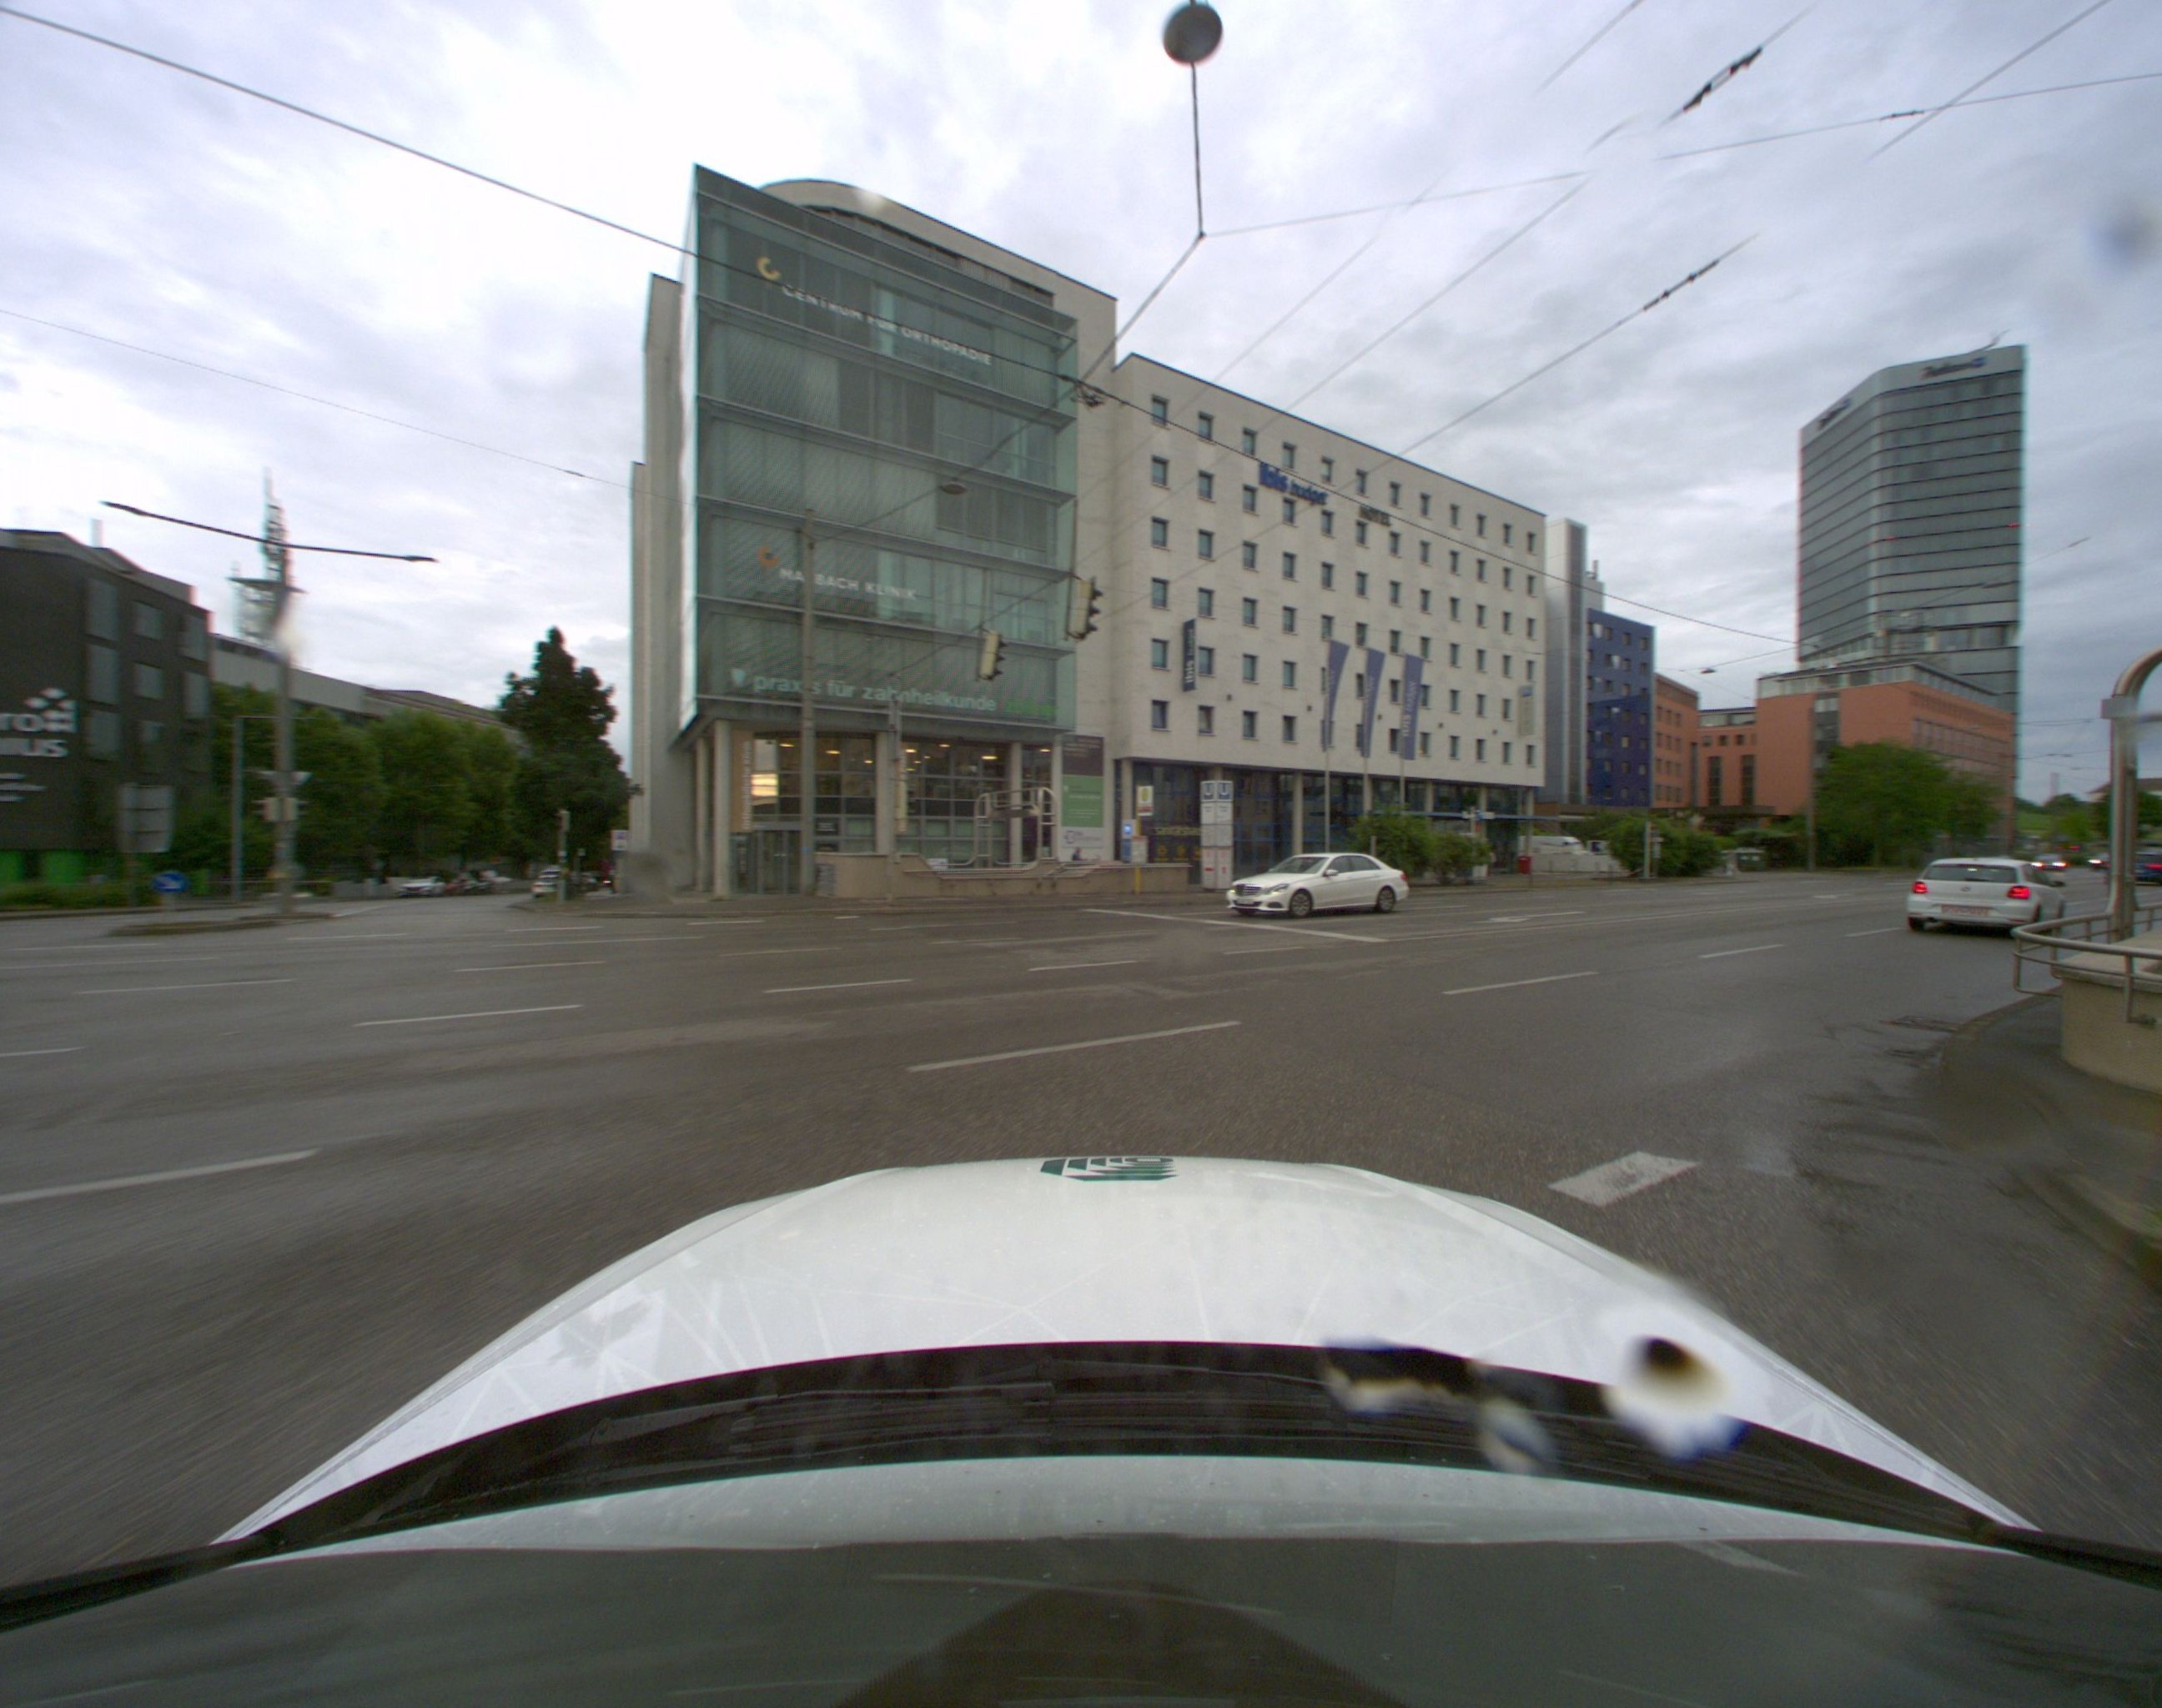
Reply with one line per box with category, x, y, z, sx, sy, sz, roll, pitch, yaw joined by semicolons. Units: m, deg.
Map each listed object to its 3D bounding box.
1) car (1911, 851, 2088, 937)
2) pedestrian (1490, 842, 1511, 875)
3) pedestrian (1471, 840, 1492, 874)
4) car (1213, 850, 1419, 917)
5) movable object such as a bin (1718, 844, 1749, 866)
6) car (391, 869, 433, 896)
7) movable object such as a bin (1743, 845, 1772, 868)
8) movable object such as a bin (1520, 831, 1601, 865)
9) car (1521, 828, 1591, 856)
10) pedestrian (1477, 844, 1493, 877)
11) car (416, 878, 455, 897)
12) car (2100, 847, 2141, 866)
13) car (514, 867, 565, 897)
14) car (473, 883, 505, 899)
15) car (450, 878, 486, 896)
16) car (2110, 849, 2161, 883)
car;18.064;0.705;15.993;3.792;1.473;1.660;0;1;-31
pedestrian;26.334;0.285;51.123;0.895;2.014;0.814;1;-3;-2
pedestrian;24.441;0.213;49.701;0.817;2.014;0.797;2;-3;-30
car;5.578;0.619;19.064;4.980;1.387;1.805;0;0;-32
movable object such as a bin;45.634;0.094;56.942;0.951;1.491;1.385;2;-3;-20
car;-53.497;2.285;65.193;2.006;2.014;3.960;2;-3;-31
movable object such as a bin;45.997;0.192;55.367;0.956;1.491;1.378;3;-3;-41
movable object such as a bin;40.863;-0.417;69.548;2.168;2.628;5.587;2;-3;-31
car;39.412;-0.965;67.712;1.899;2.014;4.681;2;-3;-31
pedestrian;25.203;0.422;50.828;0.805;2.014;0.809;-1;-3;31
car;-55.142;2.838;69.620;1.687;1.594;3.825;2;-3;-25
car;91.817;0.236;71.895;4.466;1.556;1.744;-2;-1;-32
car;-32.447;1.684;48.790;2.010;1.717;3.952;3;-3;-41
car;-60.194;3.753;82.863;1.685;1.594;3.645;2;-3;-21
car;-56.860;3.061;75.614;1.685;1.594;3.828;2;-3;-21
car;52.317;0.560;39.883;4.014;1.574;1.980;0;0;-33
